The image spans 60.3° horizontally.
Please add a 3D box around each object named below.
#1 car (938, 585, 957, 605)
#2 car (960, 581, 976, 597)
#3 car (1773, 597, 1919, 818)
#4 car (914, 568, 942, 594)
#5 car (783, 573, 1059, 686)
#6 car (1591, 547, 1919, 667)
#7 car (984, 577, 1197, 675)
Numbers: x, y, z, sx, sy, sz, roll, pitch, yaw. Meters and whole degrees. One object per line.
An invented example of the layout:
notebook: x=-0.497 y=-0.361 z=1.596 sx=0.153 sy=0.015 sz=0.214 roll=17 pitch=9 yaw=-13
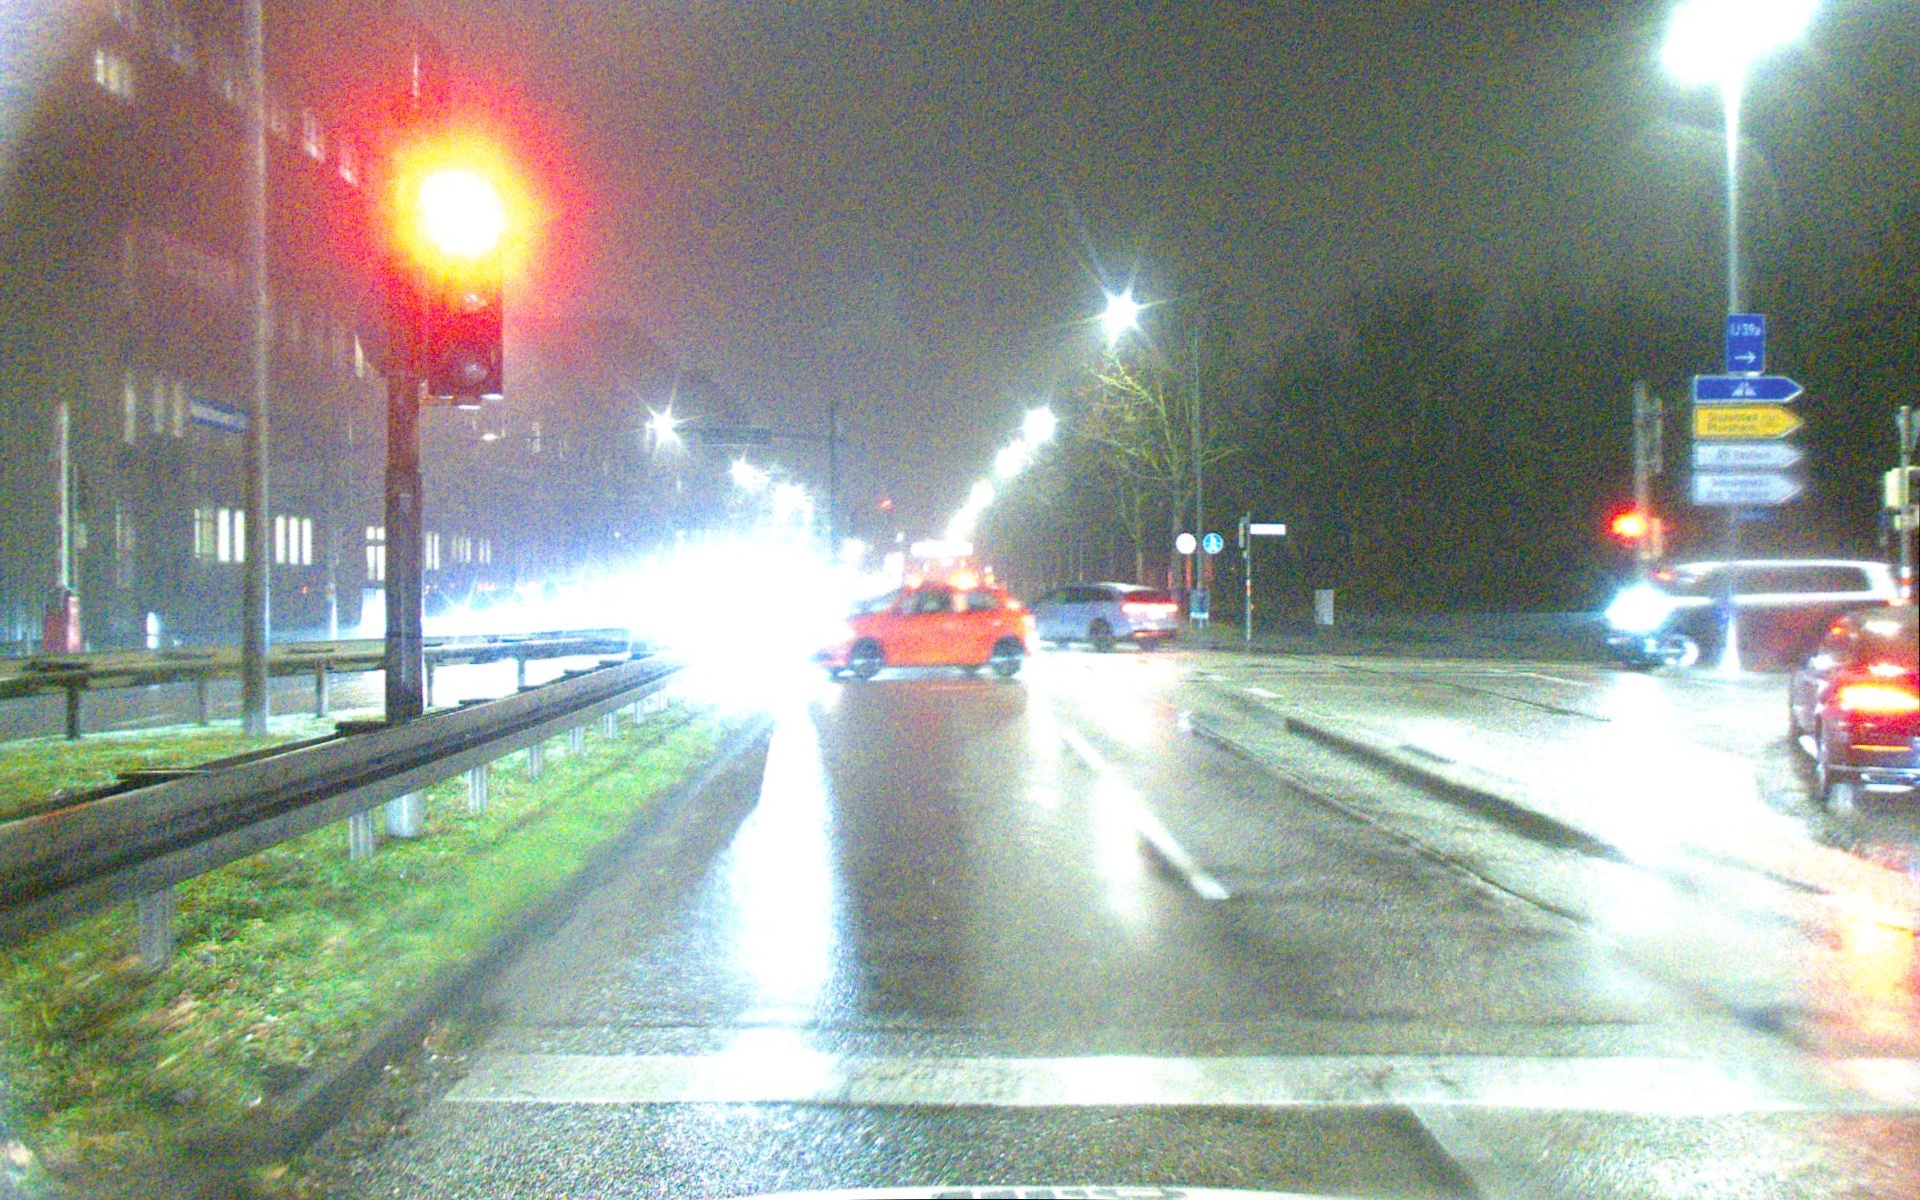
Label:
car: x=-1.274 y=-0.450 z=161.868 sx=1.754 sy=1.907 sz=4.625 roll=1 pitch=0 yaw=-2
car: x=0.958 y=-1.353 z=203.371 sx=1.953 sy=1.790 sz=3.999 roll=1 pitch=0 yaw=-1
car: x=7.484 y=0.708 z=12.740 sx=1.716 sy=1.414 sz=4.567 roll=1 pitch=1 yaw=20
car: x=-2.579 y=-1.499 z=132.137 sx=1.954 sy=2.049 sz=4.628 roll=1 pitch=0 yaw=-4
car: x=-0.634 y=0.423 z=26.532 sx=4.013 sy=1.615 sz=1.899 roll=-2 pitch=1 yaw=-23
car: x=14.034 y=0.109 z=29.267 sx=4.988 sy=2.019 sz=2.000 roll=0 pitch=0 yaw=1
car: x=3.040 y=0.572 z=39.291 sx=2.126 sy=2.182 sz=4.847 roll=1 pitch=0 yaw=-45
